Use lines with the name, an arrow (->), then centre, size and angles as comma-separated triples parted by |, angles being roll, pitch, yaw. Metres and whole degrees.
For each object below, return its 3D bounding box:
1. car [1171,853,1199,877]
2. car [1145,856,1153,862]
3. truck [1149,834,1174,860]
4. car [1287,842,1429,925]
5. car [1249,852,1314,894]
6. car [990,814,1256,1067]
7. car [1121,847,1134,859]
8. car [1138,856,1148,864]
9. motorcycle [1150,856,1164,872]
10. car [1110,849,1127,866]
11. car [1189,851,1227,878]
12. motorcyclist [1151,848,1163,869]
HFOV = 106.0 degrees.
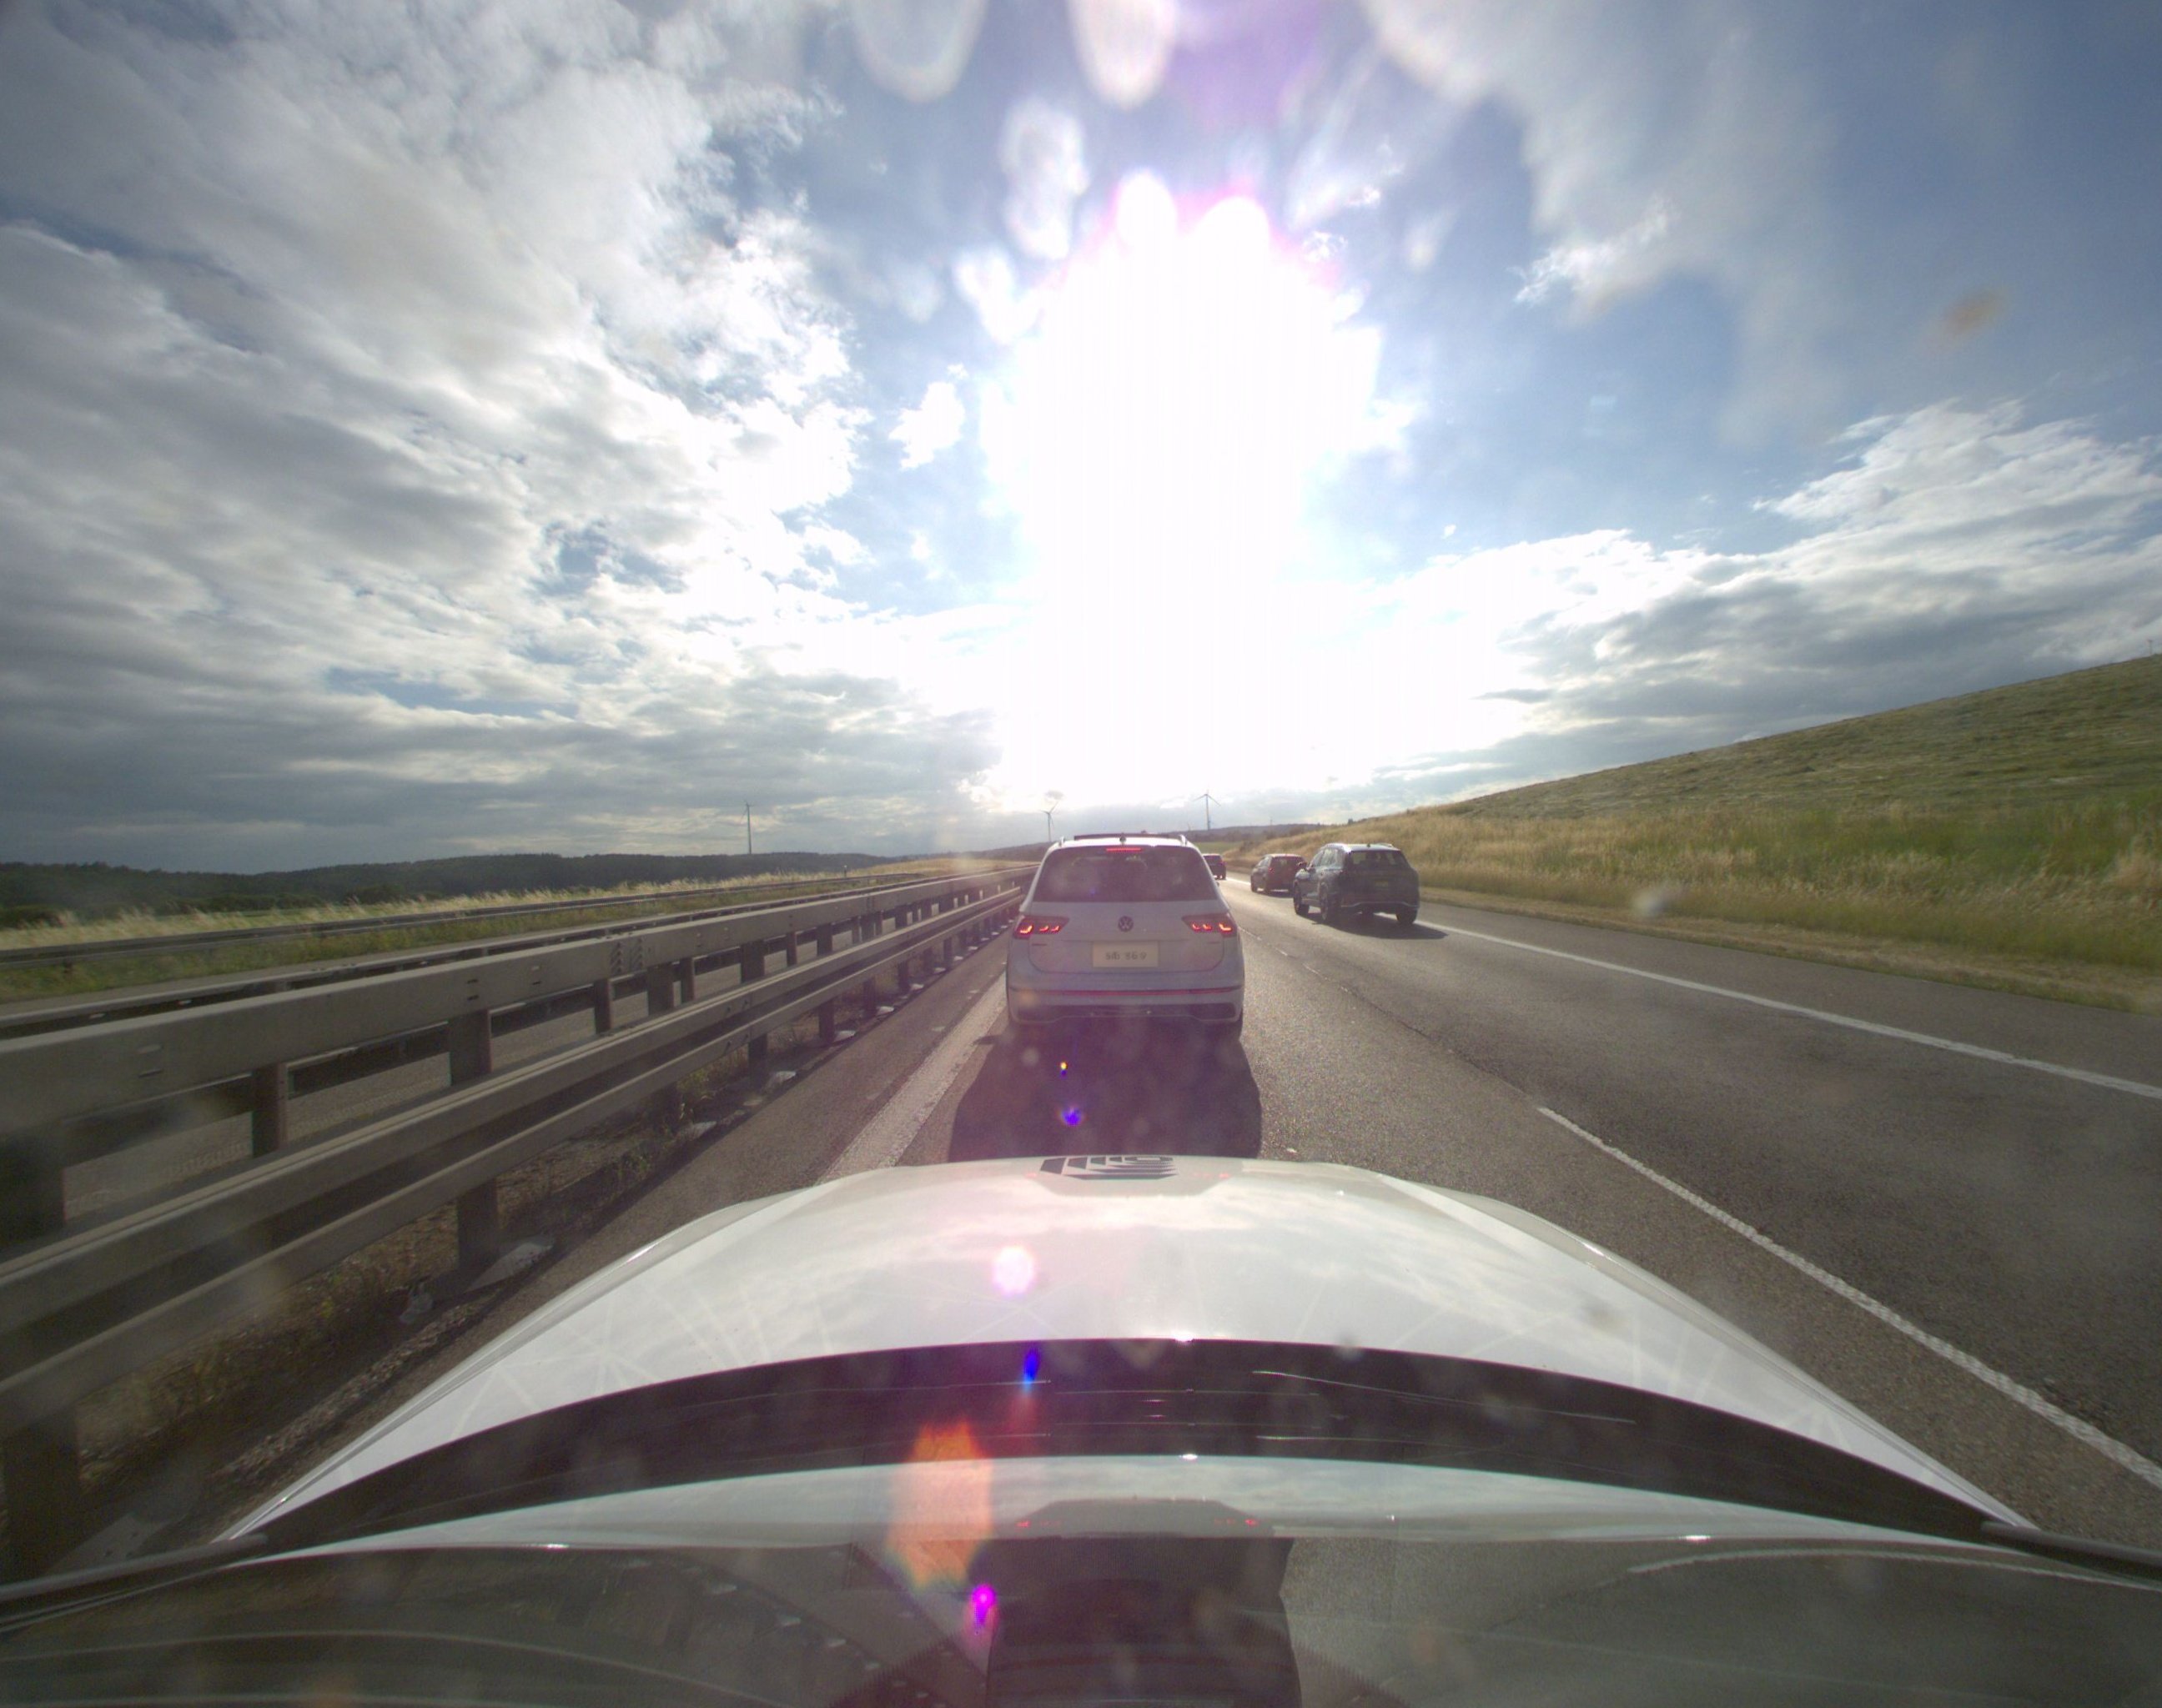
car -> 7.751, 0.810, 61.195 | 1.697, 1.650, 4.002 | -1, 0, 2
car -> 16.093, 1.197, 191.735 | 1.697, 1.546, 4.002 | -1, 0, 2
truck -> 11.502, -0.989, 116.930 | 3.170, 3.593, 11.142 | -1, 0, 4
car -> 5.908, 0.589, 17.922 | 1.814, 1.601, 4.236 | 0, 0, 2
car -> 7.288, 0.652, 29.938 | 1.599, 1.420, 3.674 | -1, 0, 2
car -> 0.349, 0.596, 7.512 | 1.763, 1.675, 4.002 | -1, 0, 2
car -> 6.274, -0.069, 110.894 | 1.697, 1.546, 4.002 | -1, 0, 2
car -> 12.225, 1.107, 161.400 | 1.697, 1.546, 4.002 | -1, 0, 2
motorcycle -> 5.854, 0.731, 62.809 | 0.892, 1.190, 2.257 | -1, 0, 1
car -> 3.712, 0.338, 81.065 | 1.697, 1.650, 4.002 | -1, 0, 2
car -> 7.485, 0.604, 48.259 | 1.697, 1.546, 4.002 | -1, 0, 2
motorcyclist -> 5.846, 0.339, 62.768 | 0.846, 1.560, 0.934 | -1, -1, 1
